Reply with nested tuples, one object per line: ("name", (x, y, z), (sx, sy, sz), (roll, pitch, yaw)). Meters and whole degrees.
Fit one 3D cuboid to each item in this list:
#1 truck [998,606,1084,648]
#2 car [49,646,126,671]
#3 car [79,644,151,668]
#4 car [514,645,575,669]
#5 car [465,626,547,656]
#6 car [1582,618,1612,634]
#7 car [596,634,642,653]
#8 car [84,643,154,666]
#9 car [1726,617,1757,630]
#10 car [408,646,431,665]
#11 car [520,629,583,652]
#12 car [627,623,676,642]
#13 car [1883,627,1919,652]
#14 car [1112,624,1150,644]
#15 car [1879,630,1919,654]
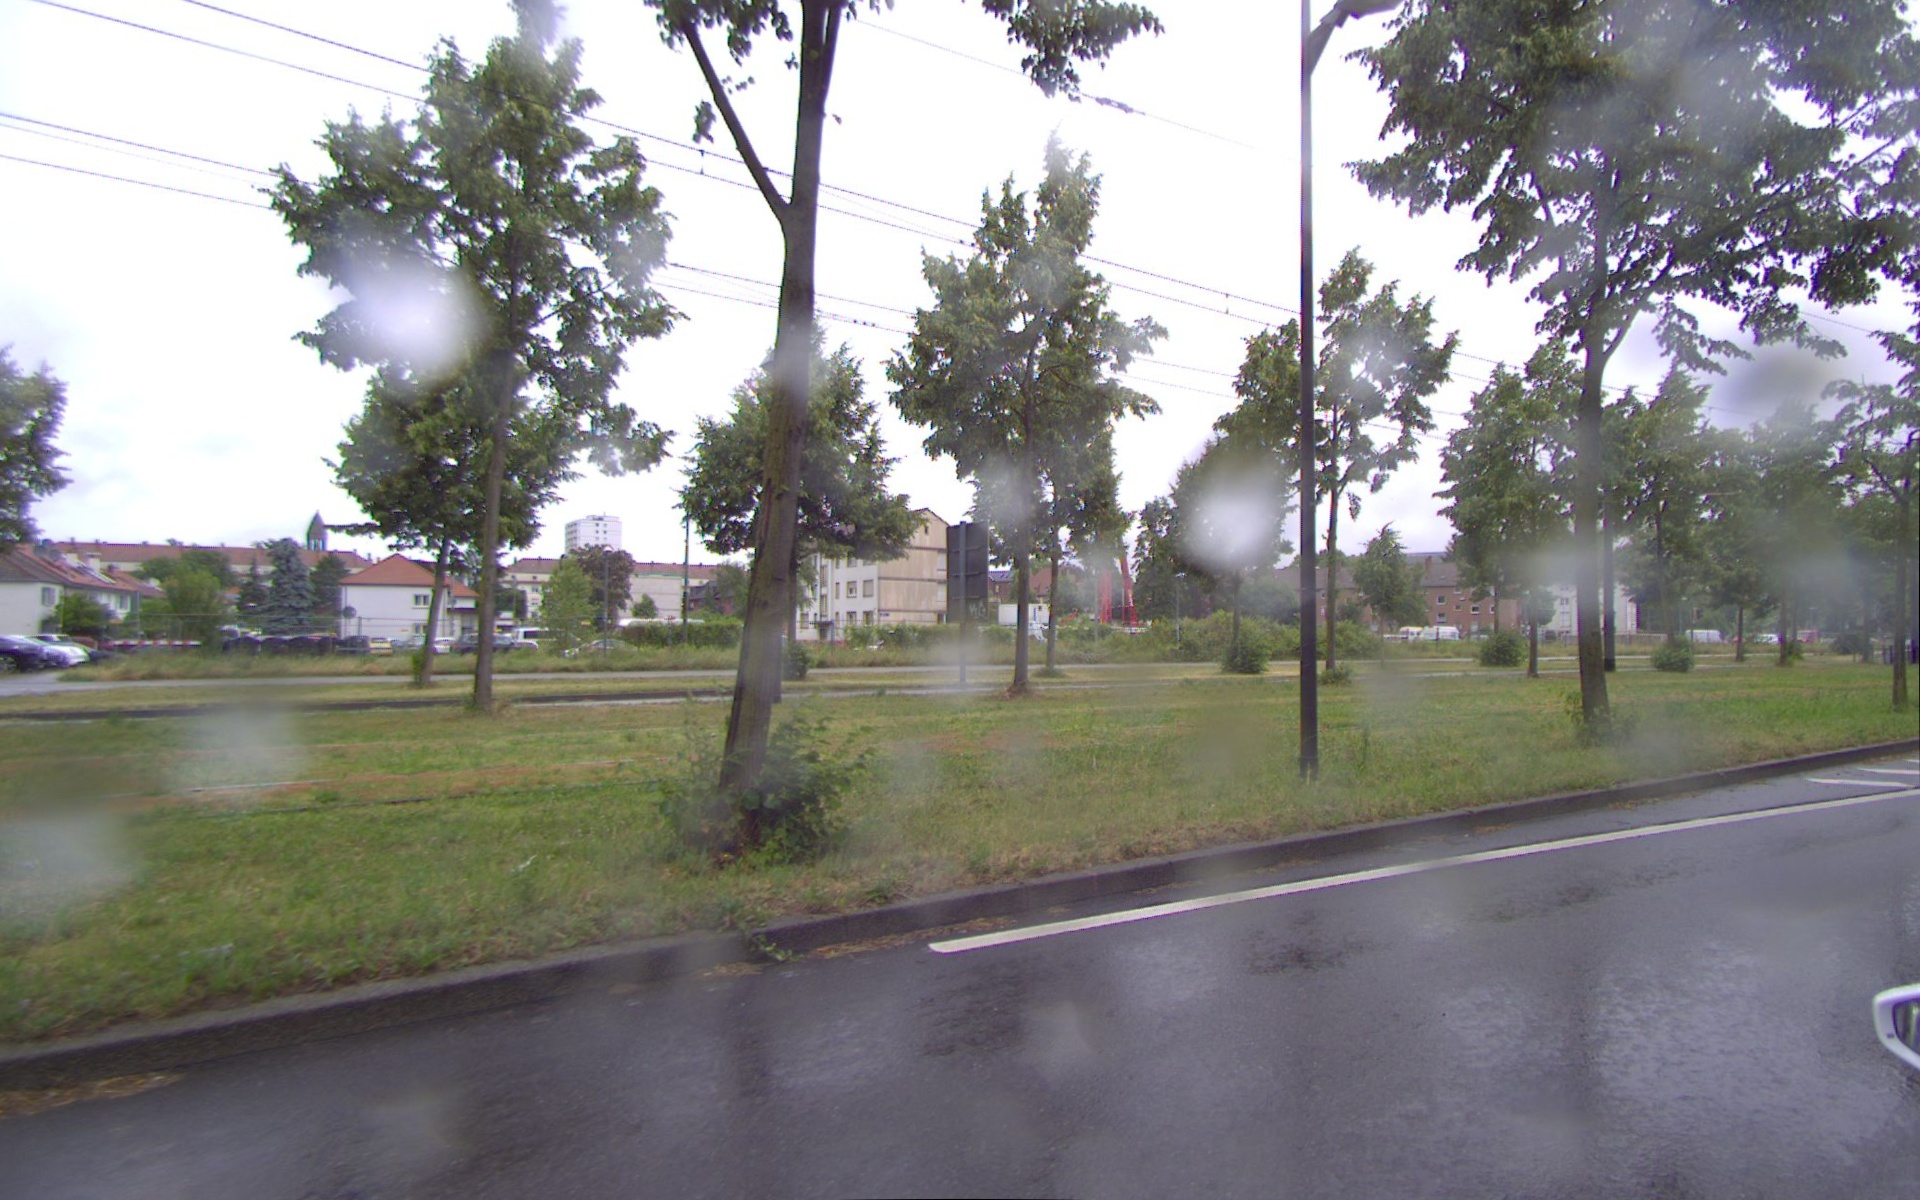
("truck", (11.795, 3.786, 144.956), (6.103, 5.467, 13.260), (-3, -1, 37))
("car", (-65.756, 4.409, 75.805), (4.195, 1.630, 1.727), (-2, 0, -37))
("car", (-67.530, 4.483, 80.370), (4.195, 1.630, 1.727), (-2, 0, -37))
("car", (-27.202, 3.704, 65.745), (3.576, 1.368, 1.315), (-2, 0, -28))
("car", (-24.216, 2.158, 53.589), (3.852, 1.368, 1.684), (-2, 0, -27))
("car", (88.110, 3.602, 138.956), (3.957, 2.040, 1.982), (-2, 0, -33))
("car", (-23.158, 2.919, 68.238), (2.772, 1.123, 1.226), (-2, 0, -27))
("car", (-68.805, 4.453, 82.251), (4.195, 1.630, 1.727), (-2, 0, -37))
("car", (116.757, 3.482, 150.125), (3.484, 1.762, 1.701), (-3, 0, 34))
("car", (-38.551, 3.931, 71.669), (1.297, 1.201, 3.065), (-2, -1, -27))
("car", (-28.263, 2.799, 69.479), (3.852, 1.368, 1.684), (-2, 0, -27))
("car", (-22.401, 2.331, 72.902), (3.205, 1.214, 1.184), (-2, 0, -28))
("car", (58.118, 2.451, 61.413), (4.929, 1.314, 1.478), (4, -5, -36))
("car", (17.969, 3.550, 105.419), (3.971, 1.840, 1.807), (-2, -1, -43))
("car", (58.021, 2.549, 61.543), (4.803, 1.283, 1.539), (-1, -1, -35))
